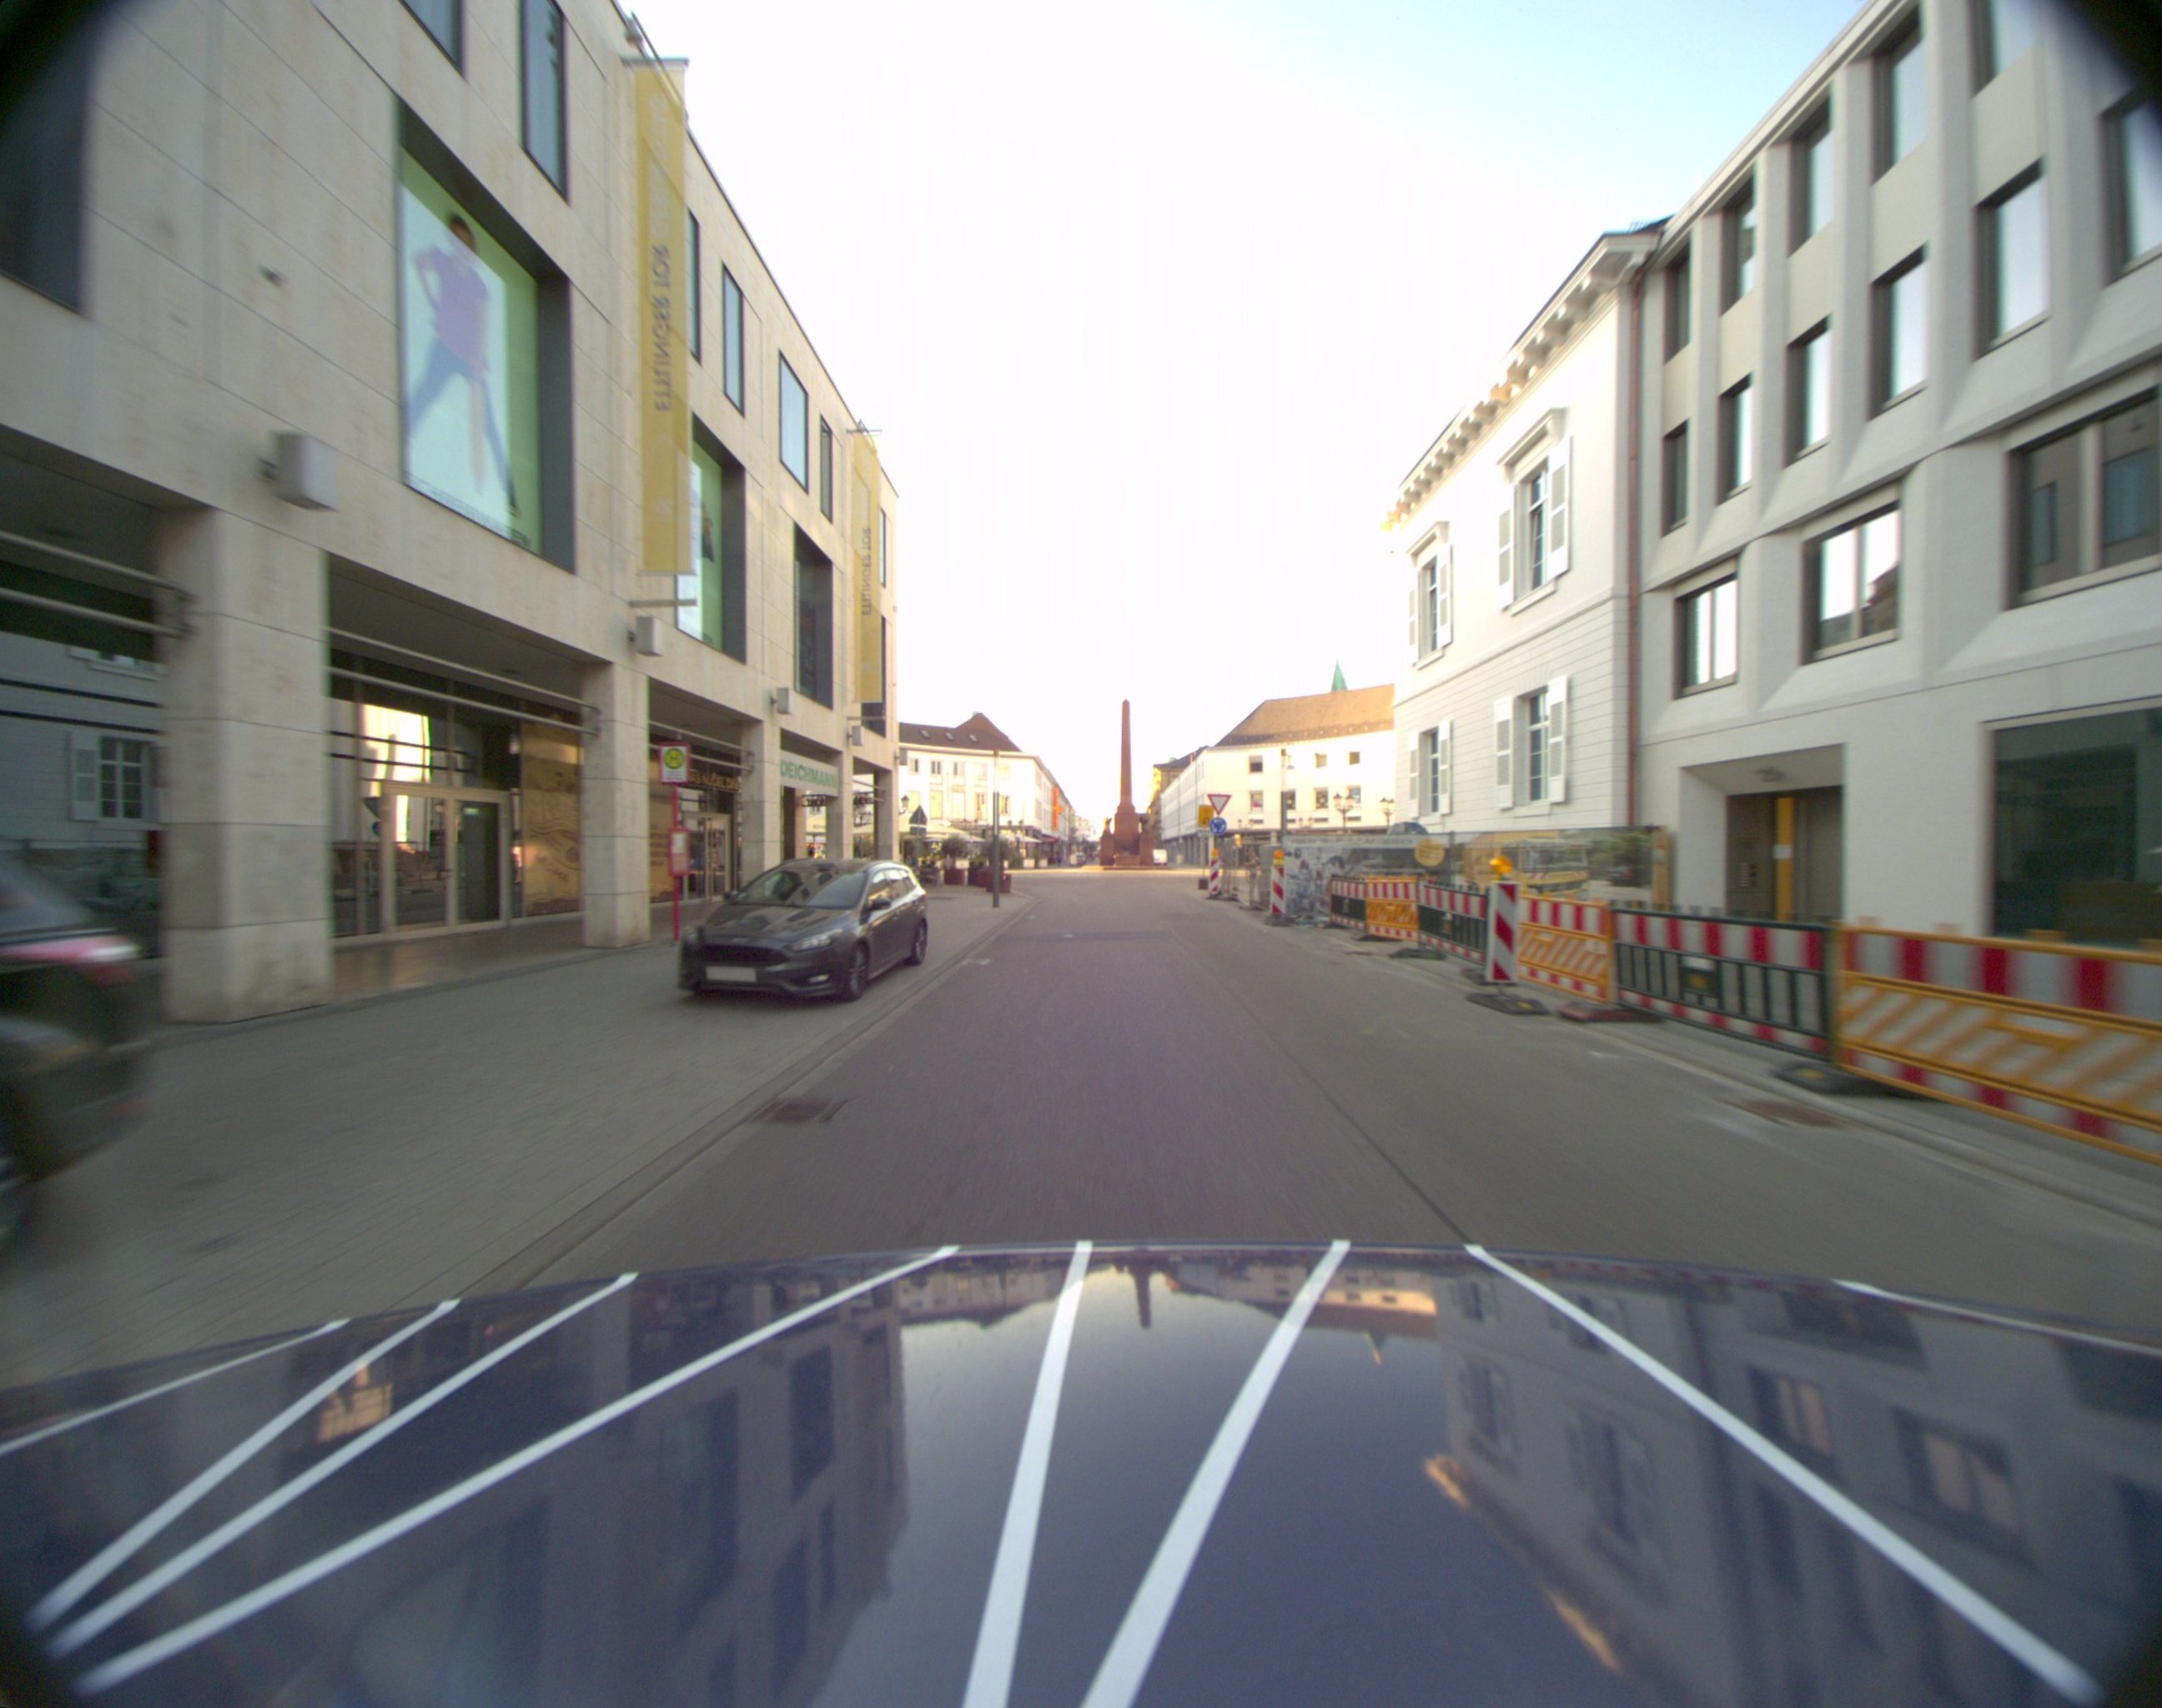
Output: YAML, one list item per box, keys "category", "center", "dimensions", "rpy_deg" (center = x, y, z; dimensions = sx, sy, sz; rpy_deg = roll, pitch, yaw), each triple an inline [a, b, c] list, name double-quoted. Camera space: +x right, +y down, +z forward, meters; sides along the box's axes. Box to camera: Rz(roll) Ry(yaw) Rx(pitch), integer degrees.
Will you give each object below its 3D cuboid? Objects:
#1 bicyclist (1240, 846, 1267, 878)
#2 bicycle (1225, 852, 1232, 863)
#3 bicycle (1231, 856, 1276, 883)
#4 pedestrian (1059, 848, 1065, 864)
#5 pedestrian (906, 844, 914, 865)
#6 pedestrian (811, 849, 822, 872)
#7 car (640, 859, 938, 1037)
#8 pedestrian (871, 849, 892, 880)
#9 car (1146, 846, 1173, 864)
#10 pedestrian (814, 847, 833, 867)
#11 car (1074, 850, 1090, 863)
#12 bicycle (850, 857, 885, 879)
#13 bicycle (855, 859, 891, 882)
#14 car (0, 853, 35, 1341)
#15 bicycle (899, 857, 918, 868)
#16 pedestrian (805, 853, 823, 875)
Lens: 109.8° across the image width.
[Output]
- category: "bicyclist"
  center: [8.214, 0.360, 36.264]
  dimensions: [0.976, 1.523, 0.796]
  rpy_deg: [-1, 1, -35]
- category: "bicycle"
  center: [15.548, 0.395, 80.114]
  dimensions: [0.480, 1.149, 1.949]
  rpy_deg: [0, 1, 1]
- category: "bicycle"
  center: [8.234, 0.712, 36.300]
  dimensions: [2.237, 1.210, 0.797]
  rpy_deg: [-1, 1, -35]
- category: "pedestrian"
  center: [-2.035, 0.202, 81.129]
  dimensions: [0.604, 1.691, 0.713]
  rpy_deg: [0, 1, -4]
- category: "pedestrian"
  center: [-15.051, 0.041, 66.962]
  dimensions: [0.508, 1.808, 0.719]
  rpy_deg: [0, 1, 3]
- category: "pedestrian"
  center: [-19.566, 0.470, 56.232]
  dimensions: [0.717, 1.737, 0.709]
  rpy_deg: [-1, 1, -21]
- category: "car"
  center: [-3.106, 0.887, 9.128]
  dimensions: [1.799, 1.482, 4.193]
  rpy_deg: [3, 1, 2]
- category: "pedestrian"
  center: [-10.258, 0.531, 39.152]
  dimensions: [0.748, 1.579, 0.715]
  rpy_deg: [0, 1, 19]
- category: "car"
  center: [8.487, 0.087, 82.471]
  dimensions: [2.021, 1.815, 4.457]
  rpy_deg: [0, 0, -5]
- category: "pedestrian"
  center: [-19.263, 0.220, 56.884]
  dimensions: [0.969, 1.439, 0.947]
  rpy_deg: [0, 1, 17]
- category: "car"
  center: [0.133, 0.293, 90.320]
  dimensions: [1.781, 1.416, 3.961]
  rpy_deg: [0, 0, 1]
- category: "bicycle"
  center: [-10.968, 0.732, 39.059]
  dimensions: [0.606, 1.121, 1.910]
  rpy_deg: [0, -1, 26]
- category: "bicycle"
  center: [-10.388, 0.832, 37.937]
  dimensions: [0.606, 1.121, 1.910]
  rpy_deg: [0, -1, 26]
- category: "car"
  center: [-4.522, 0.793, 0.581]
  dimensions: [1.772, 1.628, 4.057]
  rpy_deg: [3, 1, 2]
- category: "bicycle"
  center: [-15.177, 0.763, 66.956]
  dimensions: [0.473, 0.928, 1.681]
  rpy_deg: [0, 1, 39]
- category: "pedestrian"
  center: [-17.351, 0.636, 49.396]
  dimensions: [0.721, 1.439, 0.867]
  rpy_deg: [0, 1, 25]
